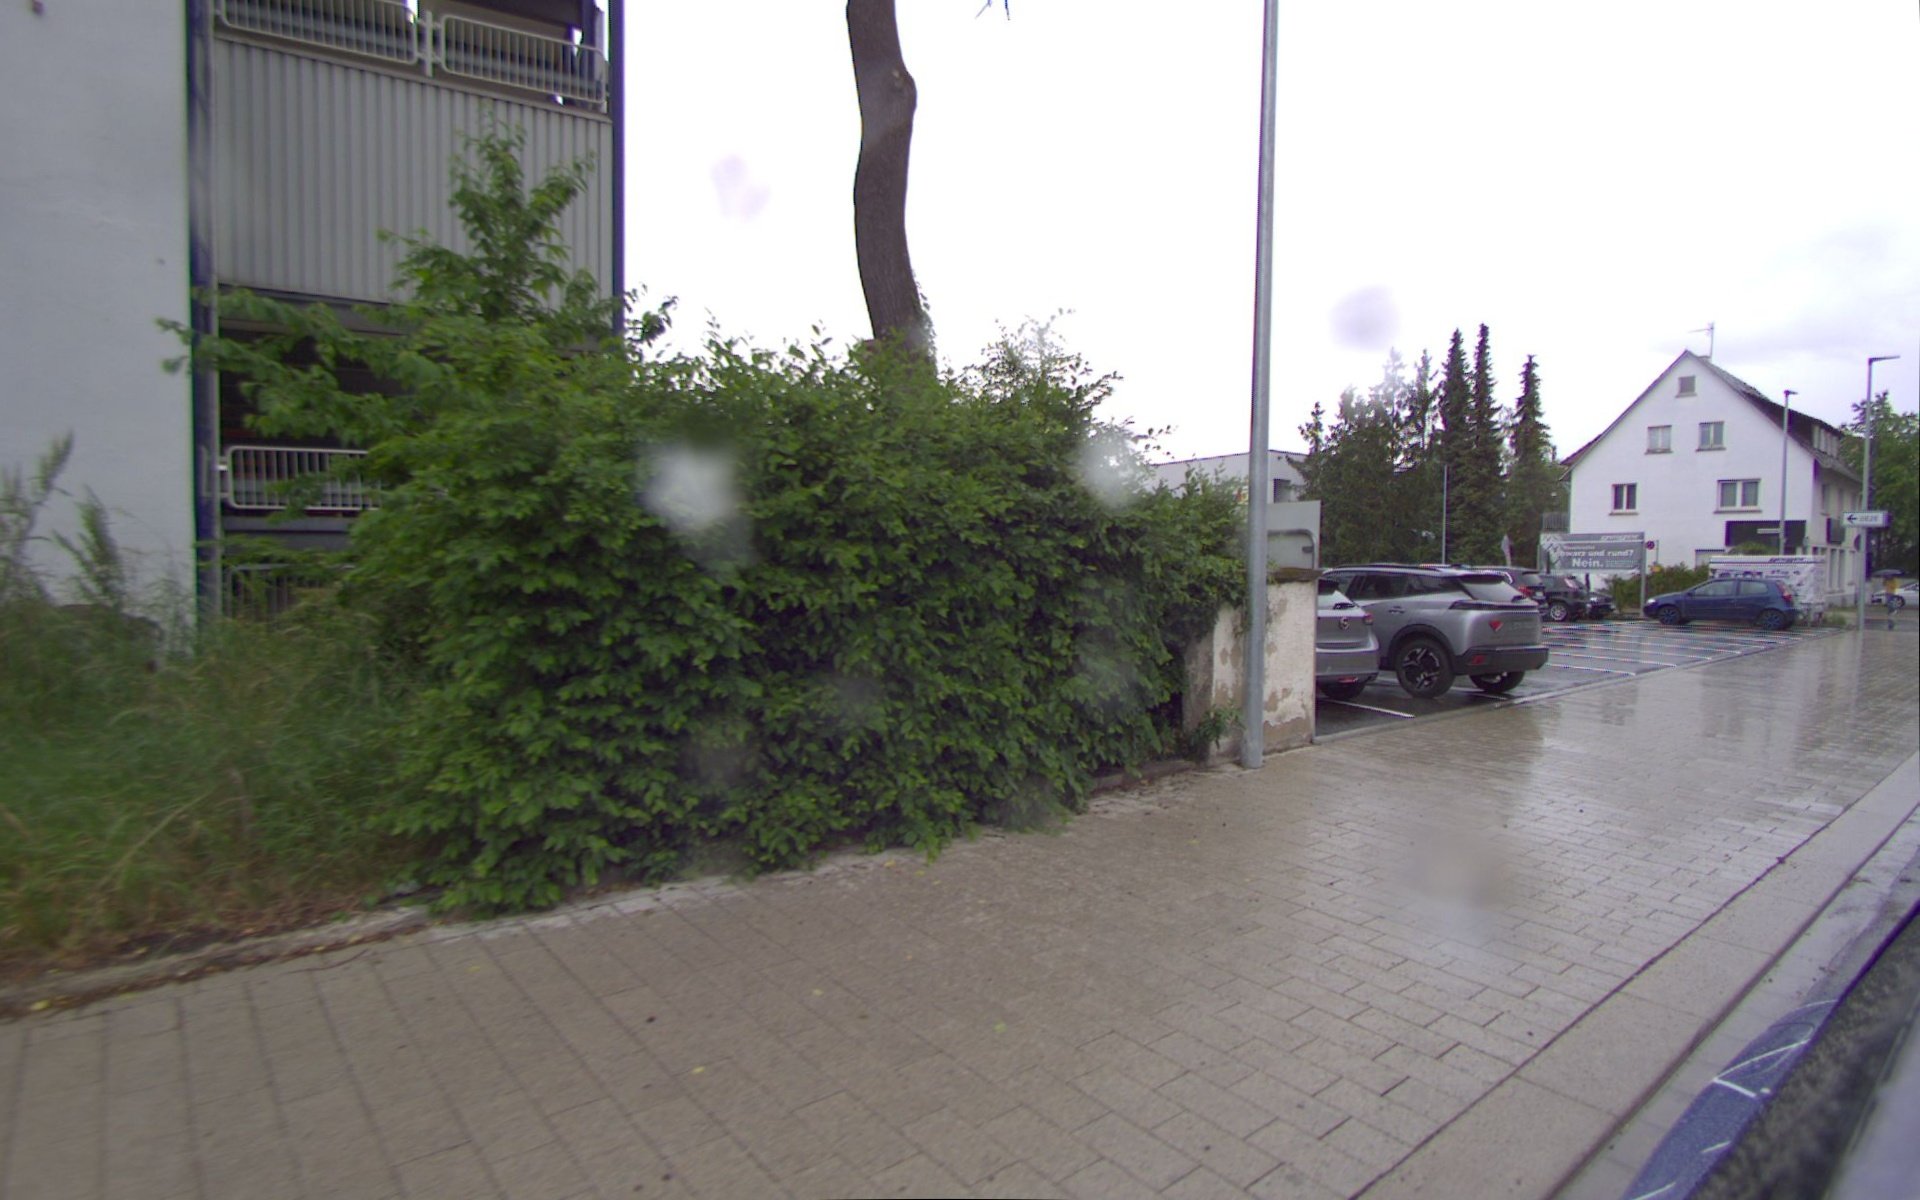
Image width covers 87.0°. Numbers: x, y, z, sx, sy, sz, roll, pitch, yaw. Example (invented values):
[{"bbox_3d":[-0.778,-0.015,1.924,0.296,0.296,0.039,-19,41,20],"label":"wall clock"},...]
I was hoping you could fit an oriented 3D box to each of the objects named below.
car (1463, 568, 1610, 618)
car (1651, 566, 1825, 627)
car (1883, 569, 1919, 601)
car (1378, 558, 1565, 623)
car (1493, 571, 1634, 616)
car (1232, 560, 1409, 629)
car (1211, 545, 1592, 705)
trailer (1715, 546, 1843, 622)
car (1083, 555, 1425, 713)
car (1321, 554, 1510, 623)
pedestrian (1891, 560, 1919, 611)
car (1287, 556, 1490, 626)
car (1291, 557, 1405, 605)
[{"bbox_3d":[18.206,-0.264,32.058,1.702,1.467,3.730,-1,3,-43],"label":"car"},{"bbox_3d":[22.642,-0.165,29.553,1.621,1.547,3.735,-2,4,-40],"label":"car"},{"bbox_3d":[50.563,-0.712,52.148,4.119,1.599,1.974,4,3,36],"label":"car"},{"bbox_3d":[14.398,-0.318,28.683,1.813,1.672,4.362,-1,3,-42],"label":"car"},{"bbox_3d":[19.975,-0.254,33.591,1.664,1.331,3.730,-1,3,-43],"label":"car"},{"bbox_3d":[8.541,-0.186,24.201,1.613,1.519,3.695,-1,2,-39],"label":"car"},{"bbox_3d":[5.586,0.172,13.389,1.960,1.669,4.228,0,4,-30],"label":"car"},{"bbox_3d":[24.814,-0.512,30.701,1.520,2.198,2.709,-1,2,-38],"label":"trailer"},{"bbox_3d":[3.295,0.263,12.003,1.770,1.513,3.638,0,3,-31],"label":"car"},{"bbox_3d":[12.288,-0.376,27.549,1.754,1.679,4.366,-1,3,-39],"label":"car"},{"bbox_3d":[39.517,-0.610,42.148,1.175,2.038,0.860,-1,4,-42],"label":"pedestrian"},{"bbox_3d":[10.702,-0.301,25.549,1.808,1.578,4.363,-1,3,-41],"label":"car"},{"bbox_3d":[16.483,-0.852,43.204,1.854,1.851,4.500,0,3,-24],"label":"car"}]
